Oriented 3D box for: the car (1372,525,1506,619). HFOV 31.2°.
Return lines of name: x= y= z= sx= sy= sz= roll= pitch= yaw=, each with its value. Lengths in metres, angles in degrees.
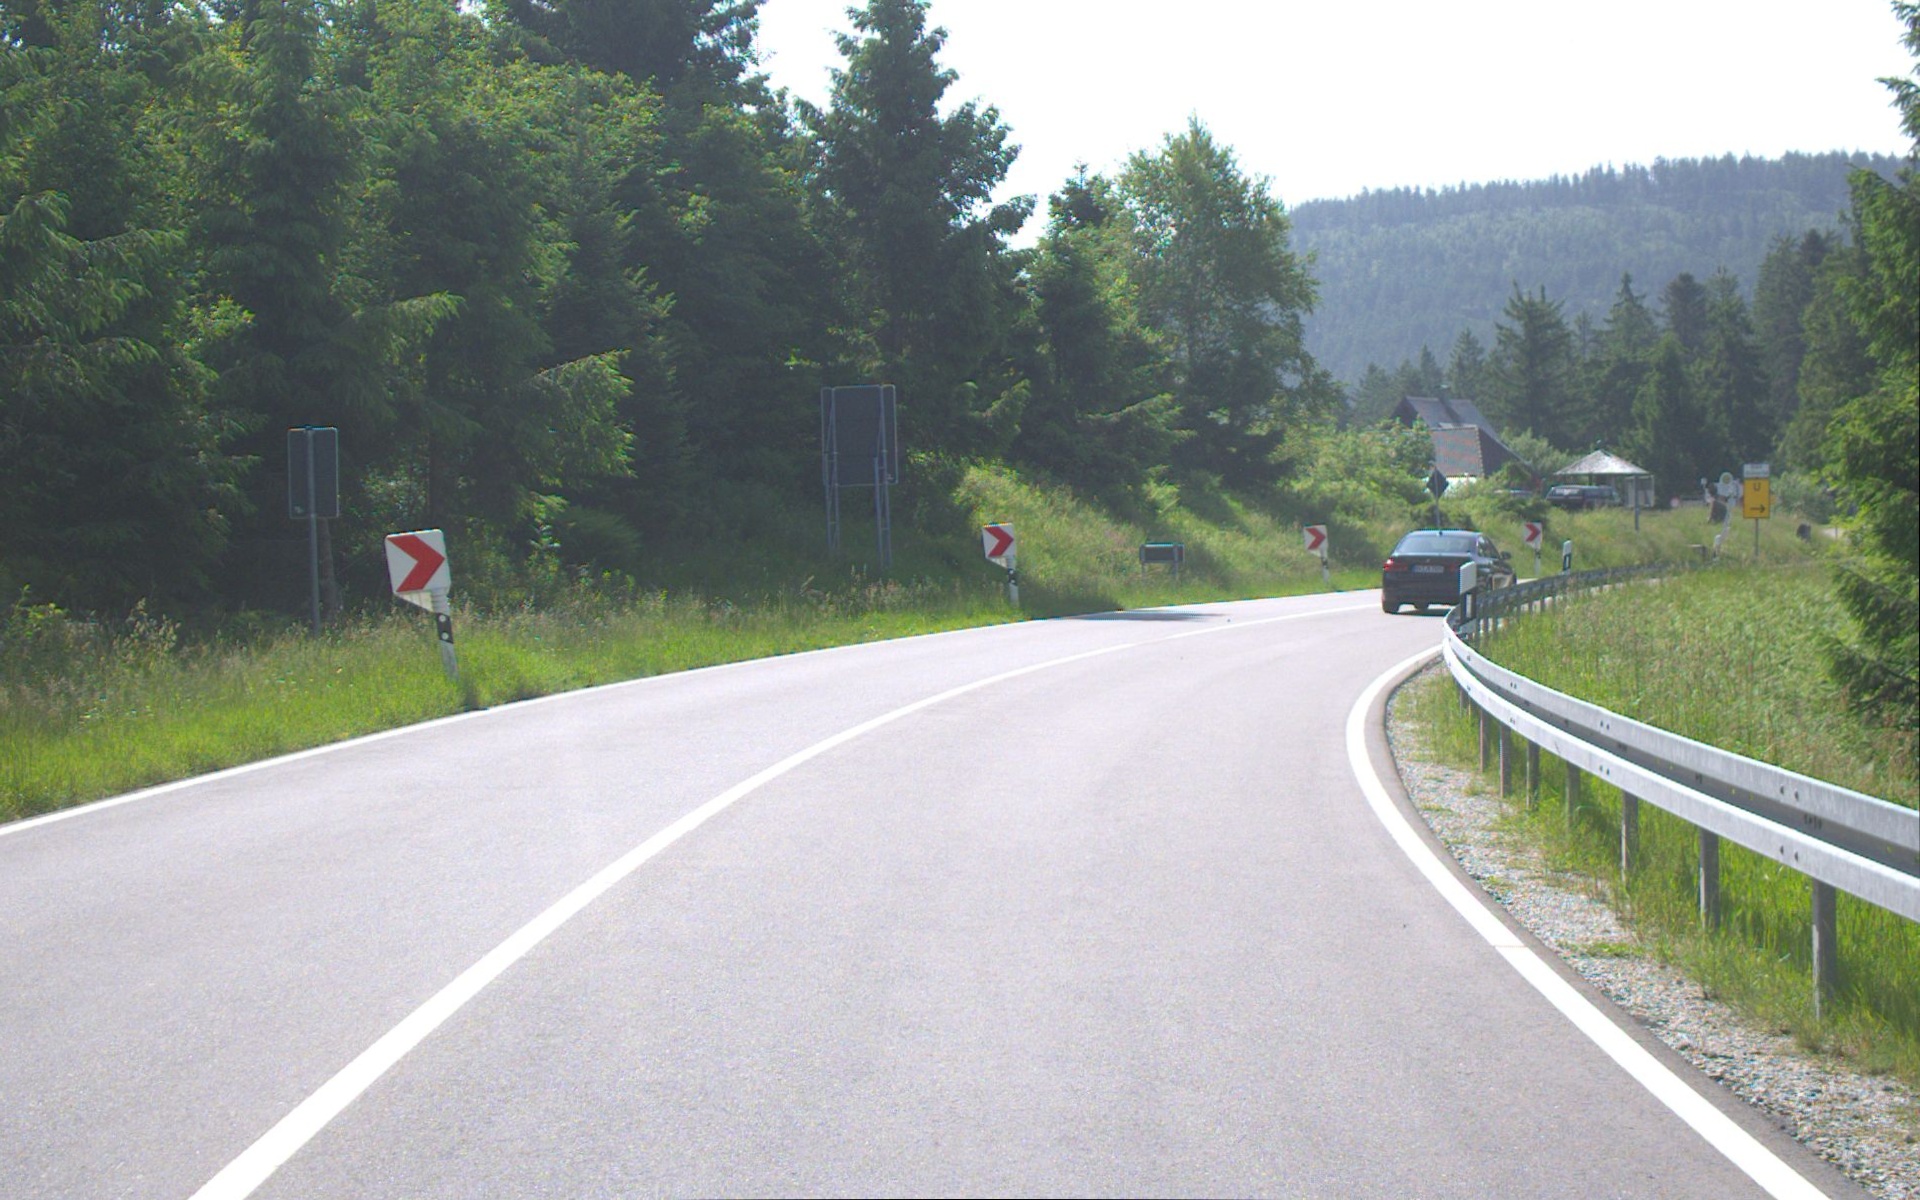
car: x=8.235 y=-0.500 z=58.871 sx=1.777 sy=1.437 sz=3.707 roll=3 pitch=3 yaw=15
